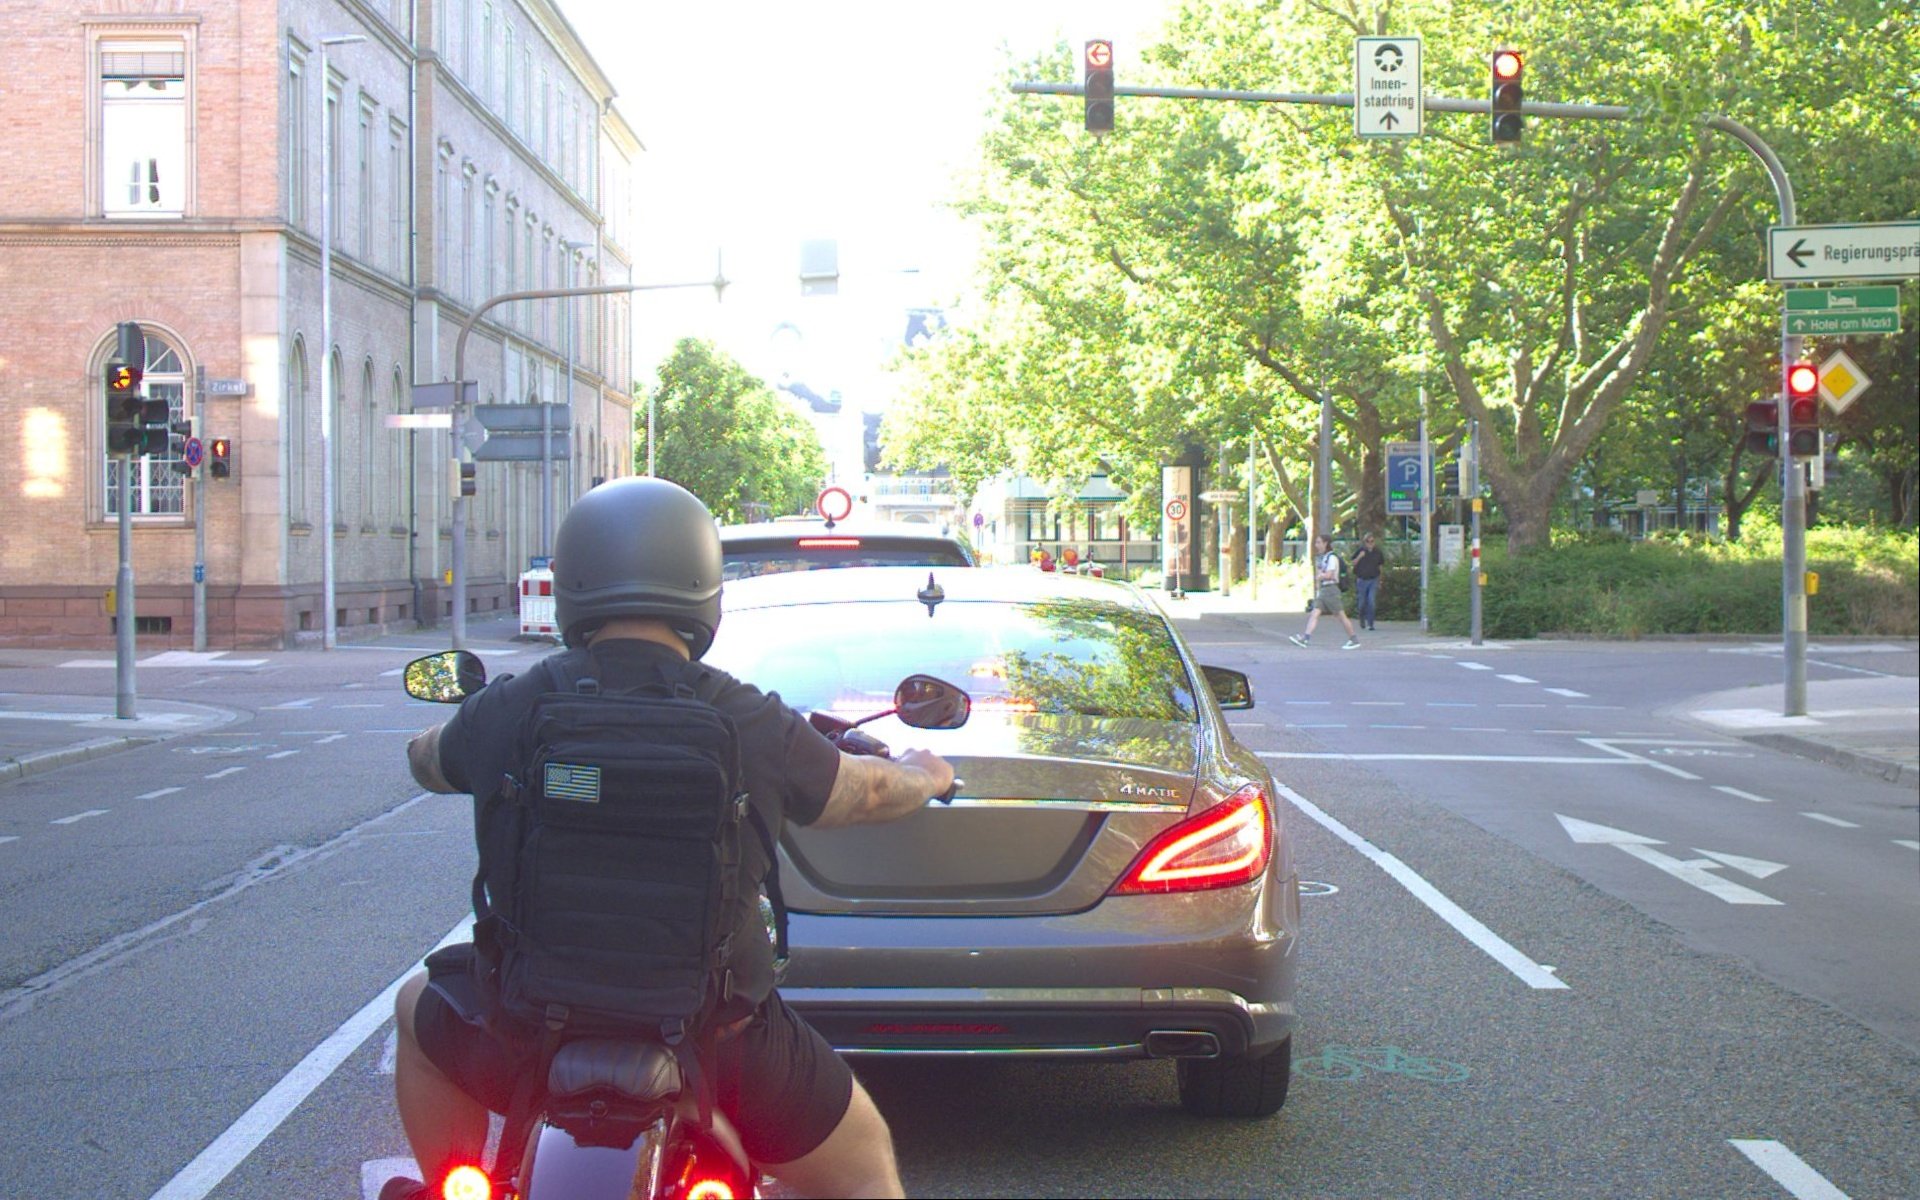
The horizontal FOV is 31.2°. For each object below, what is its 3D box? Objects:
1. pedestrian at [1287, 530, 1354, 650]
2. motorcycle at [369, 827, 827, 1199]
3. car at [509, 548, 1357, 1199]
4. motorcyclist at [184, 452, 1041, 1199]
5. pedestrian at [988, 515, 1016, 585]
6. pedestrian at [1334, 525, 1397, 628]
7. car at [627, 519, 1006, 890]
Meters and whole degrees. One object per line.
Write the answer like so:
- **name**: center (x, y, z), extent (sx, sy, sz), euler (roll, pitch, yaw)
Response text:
- **pedestrian**: center (5.565, -0.156, 53.149), extent (1.002, 1.820, 1.076), euler (1, 0, 6)
- **motorcycle**: center (-0.495, 0.929, 5.298), extent (0.513, 0.999, 2.013), euler (1, 1, -1)
- **car**: center (-0.083, 0.597, 9.619), extent (1.882, 1.444, 3.820), euler (1, 1, -1)
- **motorcyclist**: center (-0.483, 0.598, 5.310), extent (1.149, 1.593, 1.288), euler (1, 0, -1)
- **pedestrian**: center (1.230, -1.456, 100.887), extent (0.764, 2.044, 0.712), euler (1, 0, -1)
- **pedestrian**: center (7.597, -0.436, 64.365), extent (0.749, 1.903, 0.926), euler (1, 0, -28)
- **car**: center (-0.638, 0.413, 16.735), extent (1.621, 1.588, 4.000), euler (0, 1, -1)
